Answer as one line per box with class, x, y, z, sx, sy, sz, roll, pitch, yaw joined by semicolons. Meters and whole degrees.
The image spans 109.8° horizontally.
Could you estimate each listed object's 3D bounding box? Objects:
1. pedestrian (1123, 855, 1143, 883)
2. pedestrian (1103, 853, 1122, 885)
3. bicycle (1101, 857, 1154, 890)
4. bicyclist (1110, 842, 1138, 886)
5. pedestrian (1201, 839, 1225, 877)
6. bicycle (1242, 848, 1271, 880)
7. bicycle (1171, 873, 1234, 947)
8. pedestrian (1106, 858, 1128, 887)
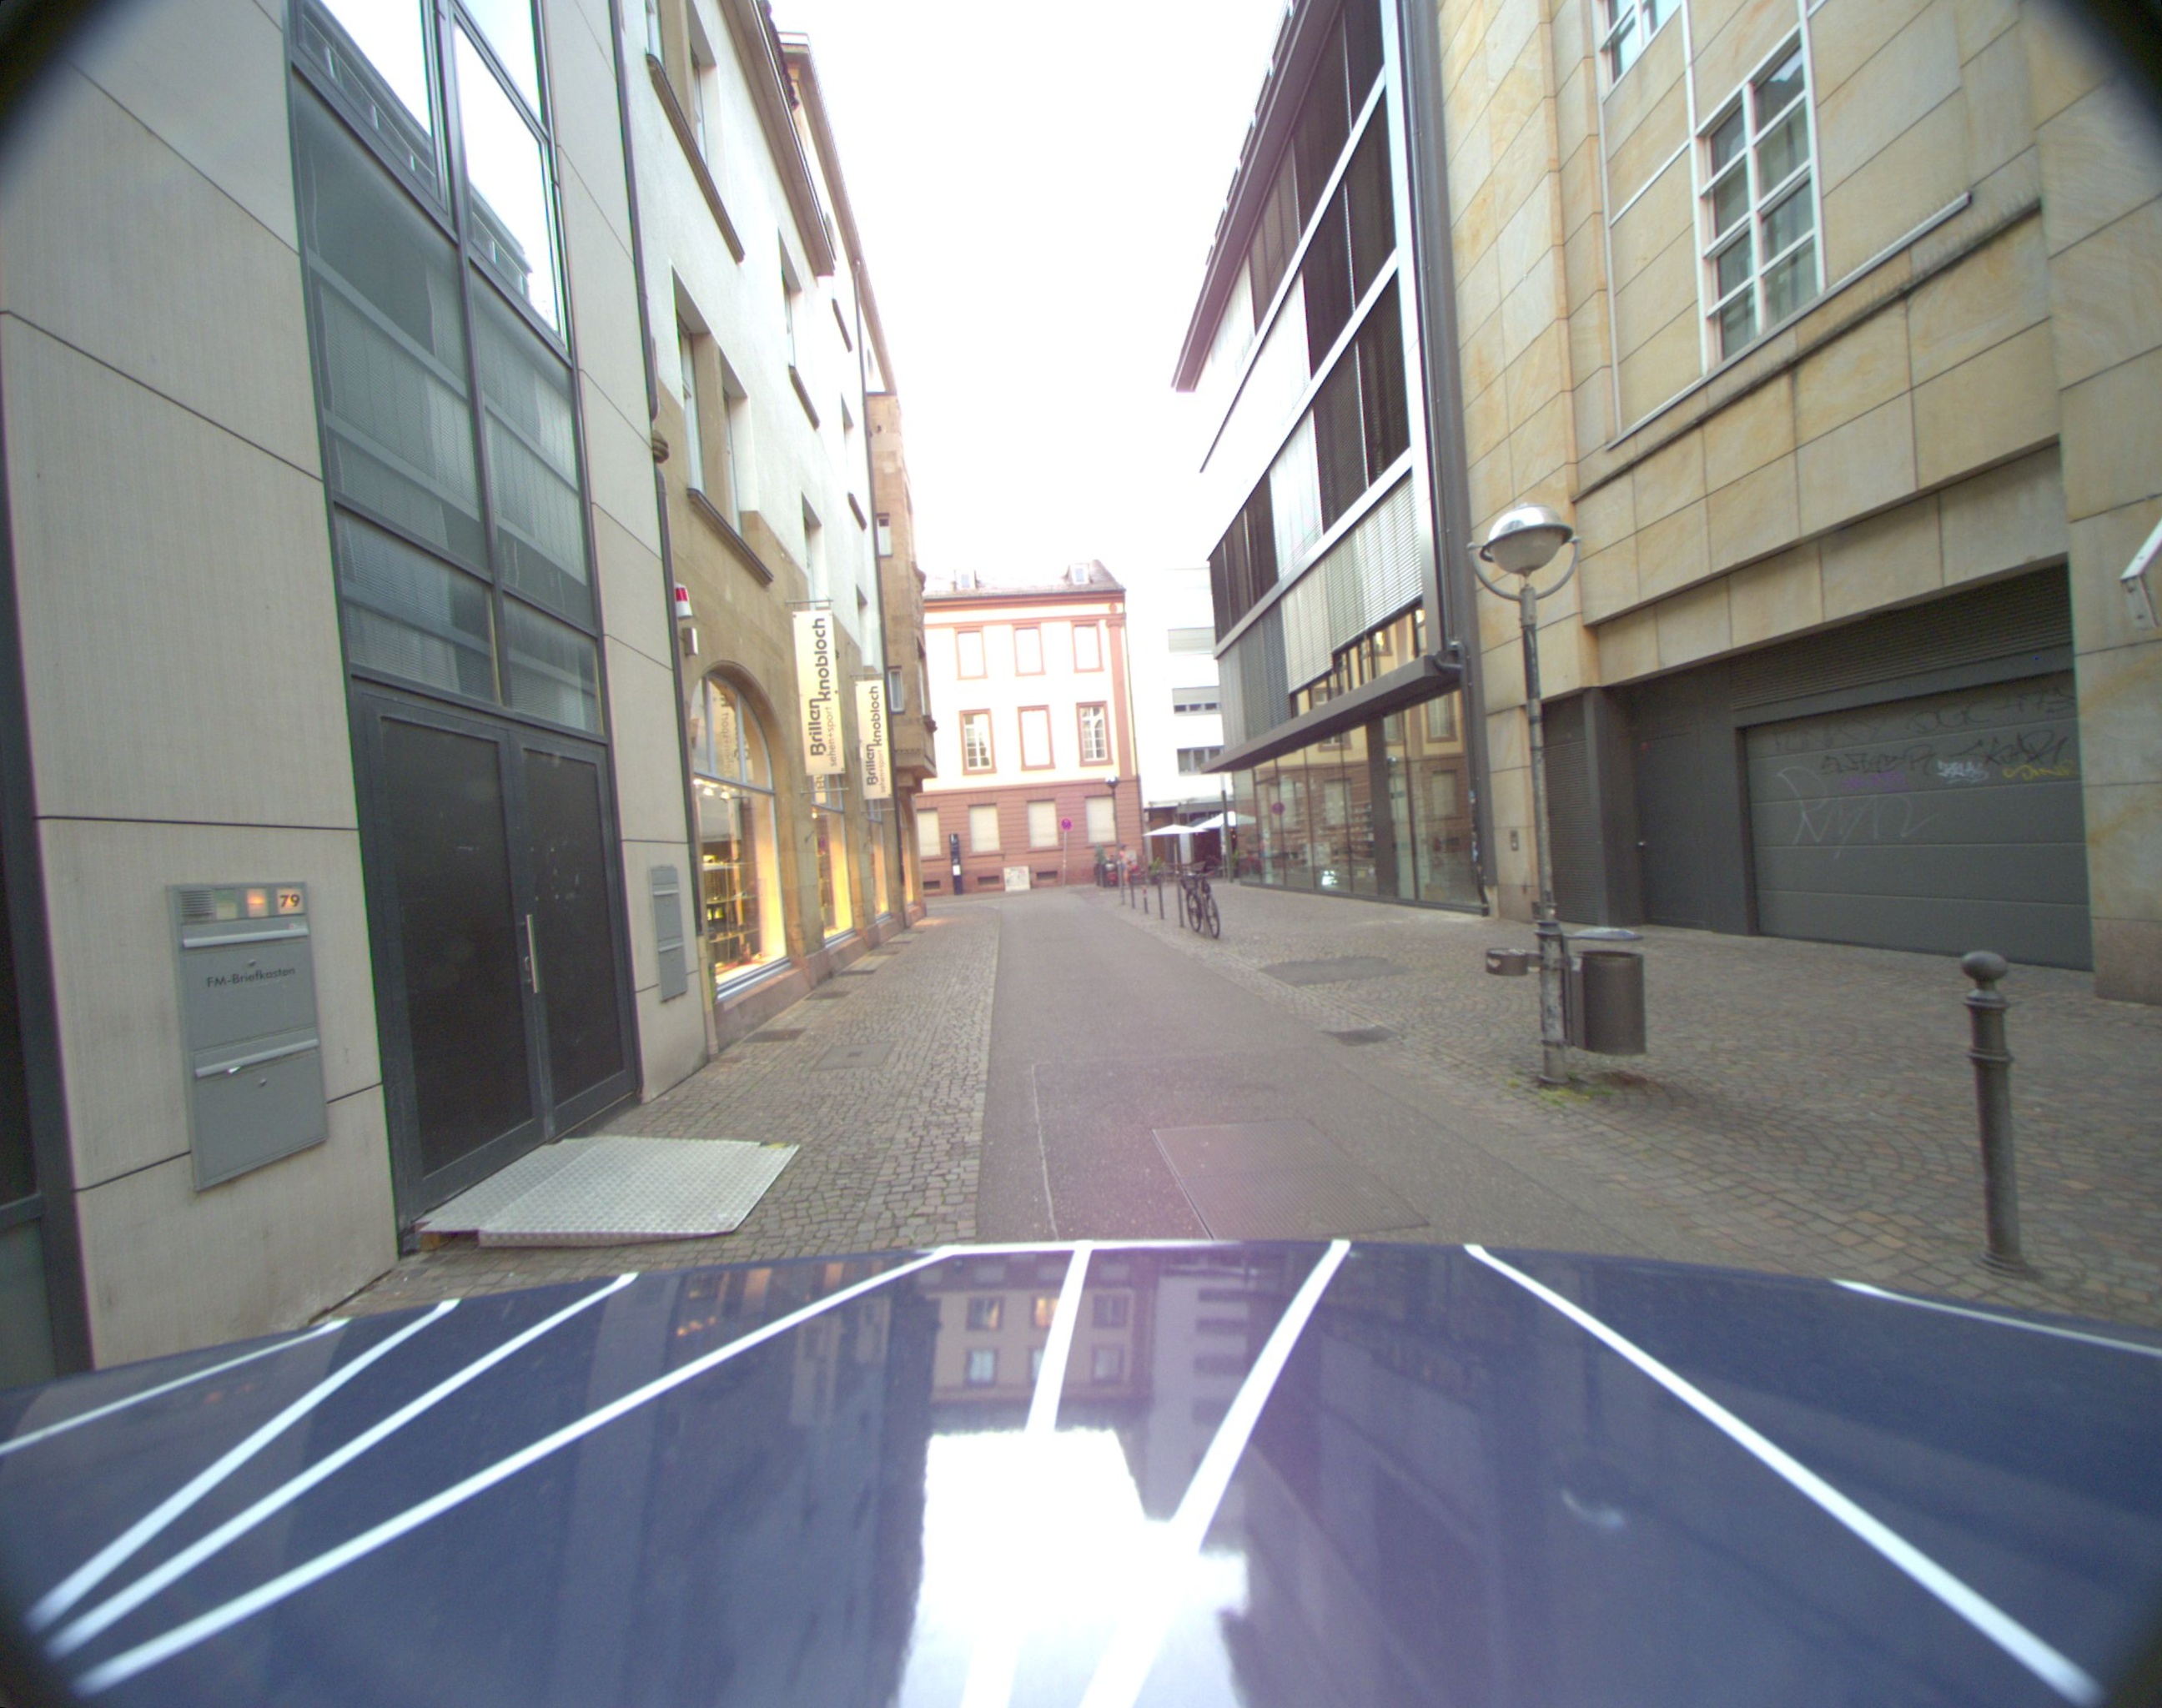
pedestrian;2.301;0.662;33.759;0.673;1.177;0.792;-4;2;-7
pedestrian;1.397;0.671;33.862;0.673;1.324;0.792;-4;2;-7
bicycle;1.873;0.771;30.861;1.980;1.143;0.578;-5;1;-4
bicyclist;1.749;0.389;30.839;0.900;1.694;0.630;-5;1;-4
pedestrian;5.971;0.168;34.331;0.725;1.639;0.792;-5;1;-10
bicycle;6.486;0.383;28.173;0.467;1.129;1.702;-5;-2;-5
bicycle;2.061;0.922;13.132;0.411;1.126;1.929;-5;1;-9
pedestrian;1.546;0.777;32.606;0.674;1.177;0.792;-5;2;-10
